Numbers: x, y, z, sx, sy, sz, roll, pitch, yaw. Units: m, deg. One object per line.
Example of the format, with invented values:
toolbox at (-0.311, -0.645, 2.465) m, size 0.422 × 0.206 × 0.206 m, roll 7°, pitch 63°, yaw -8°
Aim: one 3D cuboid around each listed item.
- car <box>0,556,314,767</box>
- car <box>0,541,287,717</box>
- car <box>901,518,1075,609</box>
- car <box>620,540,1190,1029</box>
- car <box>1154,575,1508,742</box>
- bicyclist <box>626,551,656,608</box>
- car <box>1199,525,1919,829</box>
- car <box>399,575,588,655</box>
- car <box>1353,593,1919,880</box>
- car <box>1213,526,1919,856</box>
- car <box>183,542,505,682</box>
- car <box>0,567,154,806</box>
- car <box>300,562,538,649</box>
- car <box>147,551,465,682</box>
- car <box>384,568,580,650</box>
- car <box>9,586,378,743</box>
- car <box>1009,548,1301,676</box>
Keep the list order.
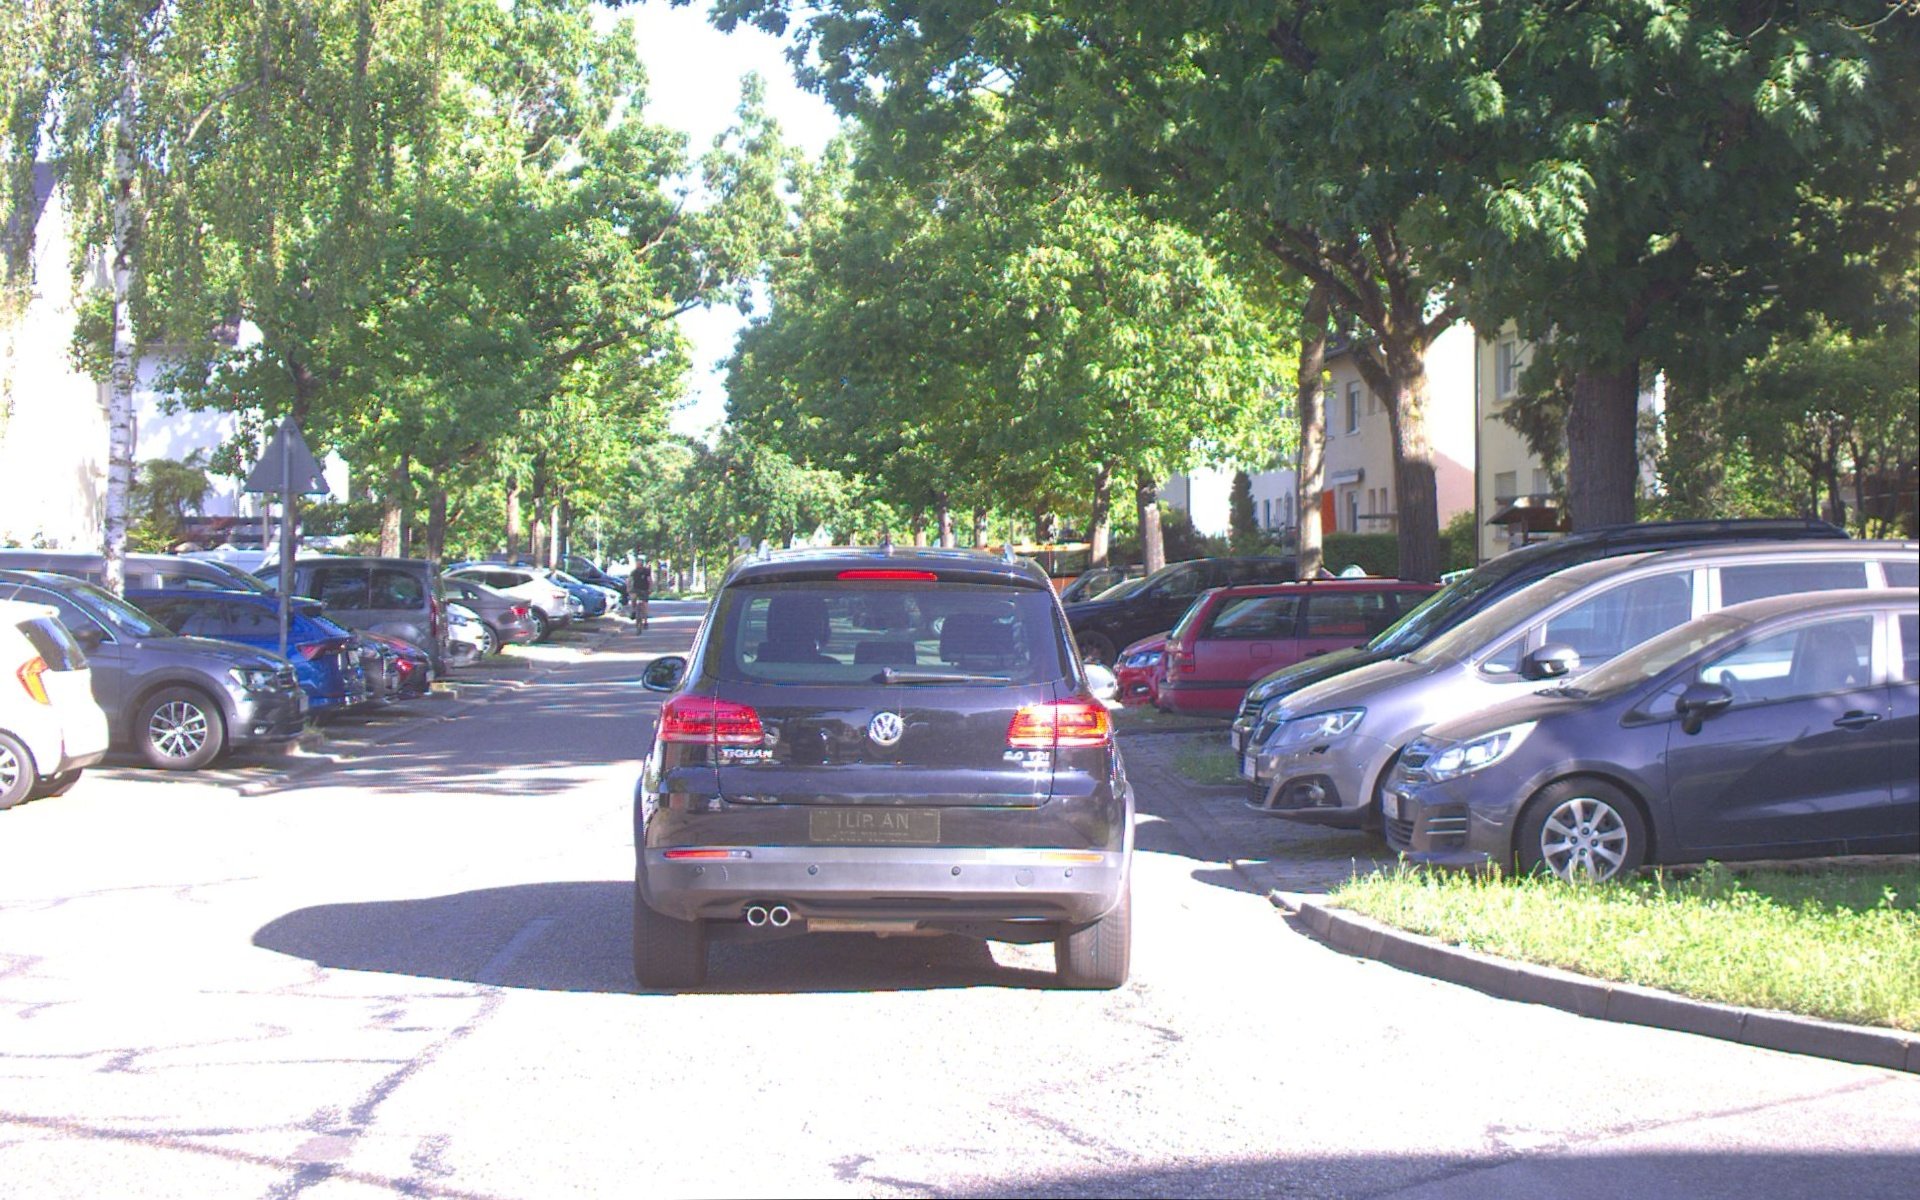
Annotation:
car at (-7.630, 0.506, 29.333) m, size 3.986 × 1.725 × 2.000 m, roll 0°, pitch 0°, yaw -5°
car at (-9.299, 0.301, 36.757) m, size 3.986 × 1.830 × 1.638 m, roll 0°, pitch 0°, yaw -5°
car at (0.625, -0.839, 79.882) m, size 3.987 × 2.007 × 2.000 m, roll 0°, pitch -2°, yaw -1°
car at (-0.403, 0.618, 14.105) m, size 1.929 × 1.649 × 4.515 m, roll 1°, pitch 0°, yaw -6°
car at (3.415, 0.524, 31.849) m, size 3.043 × 1.502 × 1.247 m, roll 0°, pitch 0°, yaw -7°
bicyclist at (-7.537, -0.485, 81.277) m, size 0.700 × 1.341 × 0.506 m, roll 0°, pitch -2°, yaw -6°
car at (4.331, 0.491, 23.052) m, size 5.259 × 1.939 × 2.000 m, roll 0°, pitch 0°, yaw -2°
car at (-10.099, 0.305, 74.246) m, size 3.986 × 1.678 × 2.000 m, roll 0°, pitch 0°, yaw -9°
car at (4.122, 0.653, 17.509) m, size 3.986 × 1.364 × 1.847 m, roll 0°, pitch 0°, yaw -2°
car at (3.879, 0.493, 20.002) m, size 4.632 × 1.803 × 1.824 m, roll 0°, pitch 0°, yaw -2°
car at (-8.711, 0.185, 48.881) m, size 4.389 × 1.932 × 1.579 m, roll 0°, pitch -1°, yaw -6°
car at (-7.983, 0.580, 24.564) m, size 3.987 × 1.634 × 2.000 m, roll 0°, pitch 0°, yaw 0°
car at (-9.673, 0.106, 61.670) m, size 3.987 × 1.493 × 2.000 m, roll 0°, pitch -2°, yaw -1°
car at (-8.781, 0.235, 46.408) m, size 3.986 × 1.714 × 1.821 m, roll 0°, pitch -1°, yaw -2°
car at (-10.005, 0.174, 71.846) m, size 3.986 × 1.678 × 1.924 m, roll 0°, pitch 0°, yaw -9°
car at (-7.512, 0.612, 33.930) m, size 3.370 × 1.485 × 1.644 m, roll 0°, pitch 0°, yaw -5°
car at (2.711, 0.160, 48.459) m, size 3.987 × 1.769 × 1.790 m, roll 0°, pitch 0°, yaw -1°
